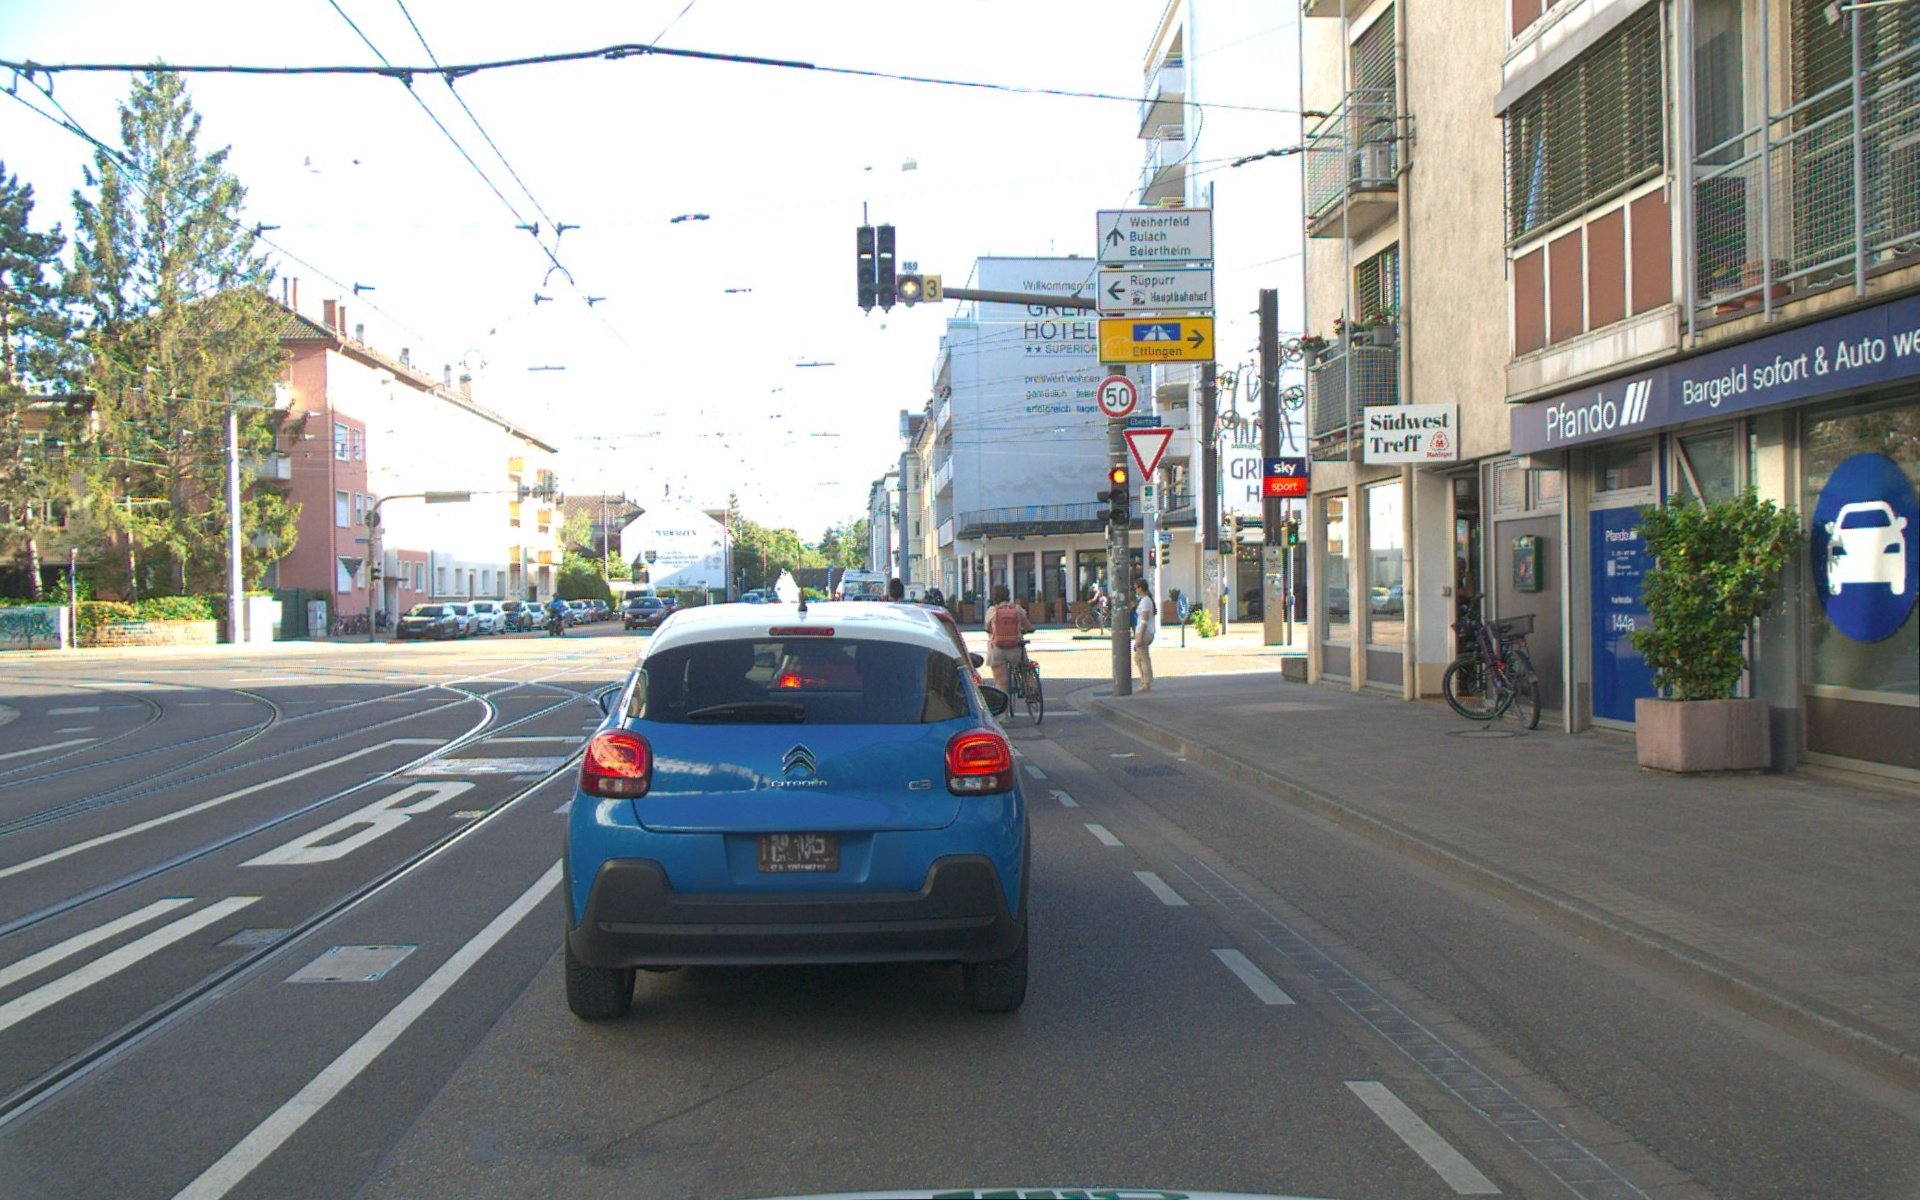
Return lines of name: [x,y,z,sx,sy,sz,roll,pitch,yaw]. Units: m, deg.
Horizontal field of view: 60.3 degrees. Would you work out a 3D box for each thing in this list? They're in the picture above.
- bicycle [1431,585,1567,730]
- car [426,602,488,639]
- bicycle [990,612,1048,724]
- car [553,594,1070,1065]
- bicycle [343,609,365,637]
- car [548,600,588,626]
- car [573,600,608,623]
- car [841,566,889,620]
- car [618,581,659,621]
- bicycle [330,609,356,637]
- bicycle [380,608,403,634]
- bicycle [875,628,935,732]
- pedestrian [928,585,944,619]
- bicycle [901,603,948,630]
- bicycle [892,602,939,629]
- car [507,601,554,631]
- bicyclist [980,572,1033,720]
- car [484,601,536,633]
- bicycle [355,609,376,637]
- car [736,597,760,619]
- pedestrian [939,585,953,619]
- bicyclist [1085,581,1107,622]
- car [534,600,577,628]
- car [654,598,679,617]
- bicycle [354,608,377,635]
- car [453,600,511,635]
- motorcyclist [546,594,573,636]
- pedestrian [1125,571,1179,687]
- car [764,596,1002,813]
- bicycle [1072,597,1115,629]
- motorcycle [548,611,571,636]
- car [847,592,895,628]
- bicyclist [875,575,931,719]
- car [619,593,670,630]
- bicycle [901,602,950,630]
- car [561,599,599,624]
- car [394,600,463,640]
bicycle: [5.114,0.508,15.807,0.627,1.286,1.910,-1,0,-1]
car: [-22.548,0.877,74.246,1.913,1.545,4.040,-1,0,-6]
bicycle: [0.723,0.817,20.625,0.601,1.286,1.910,-1,0,-1]
car: [-0.611,0.734,7.339,1.647,1.488,3.997,1,0,-4]
bicycle: [-24.584,0.929,67.107,0.527,1.101,1.905,-1,0,-11]
car: [-24.401,0.808,102.980,1.913,1.545,3.995,-1,0,-6]
car: [-25.559,0.788,114.584,1.913,1.545,3.995,-1,0,-6]
car: [-4.226,-0.317,73.167,2.039,2.309,5.646,0,0,-4]
car: [-23.215,0.067,119.567,2.446,2.759,5.828,-1,0,-7]
bicycle: [-24.977,0.919,66.981,0.628,1.101,1.905,-1,0,-11]
bicycle: [-25.667,0.942,74.682,0.597,1.101,1.908,-1,0,-7]
bicycle: [-0.670,0.923,19.709,0.604,1.123,1.884,-1,0,-5]
pedestrian: [-1.005,0.090,70.226,0.514,1.445,0.547,-1,0,19]
bicycle: [-1.441,0.666,67.073,1.868,1.083,0.641,-1,0,-8]
bicycle: [-1.856,0.643,68.259,1.868,1.083,0.641,-1,0,-8]
car: [-23.757,0.856,91.558,1.913,1.545,3.995,-1,0,-6]
bicyclist: [0.569,0.555,20.584,0.588,1.776,1.084,-1,0,-1]
car: [-23.228,0.840,85.508,1.913,1.545,3.995,-1,0,-6]
bicycle: [-24.225,0.937,67.406,0.527,1.101,1.905,-1,0,-11]
car: [-21.800,0.806,170.483,2.293,2.074,5.044,-1,0,-6]
pedestrian: [-0.580,0.085,69.981,0.459,1.445,0.525,-1,0,-13]
bicyclist: [4.974,0.060,60.436,0.711,1.459,0.606,-1,0,13]
car: [-23.927,0.823,97.983,1.913,1.545,3.995,-1,0,-6]
car: [-25.565,0.643,144.156,1.913,1.545,3.995,-1,0,-6]
bicycle: [-25.869,0.928,71.977,0.527,1.101,1.908,-1,0,-7]
car: [-22.750,0.821,78.851,1.913,1.545,3.995,-1,0,-6]
motorcyclist: [-16.200,0.608,66.942,0.973,1.659,0.737,-1,0,-10]
pedestrian: [2.821,0.416,24.330,0.735,1.663,0.740,-1,0,5]
car: [-0.678,0.730,13.547,1.647,1.488,3.997,1,0,-4]
bicycle: [4.881,0.470,60.466,1.457,1.110,0.606,-1,0,12]
motorcycle: [-16.221,0.941,67.010,0.738,0.993,2.092,-1,0,-9]
car: [-3.671,0.385,67.728,1.752,1.383,3.909,-1,0,-6]
bicyclist: [-0.686,0.540,19.604,0.604,1.658,0.759,-1,0,-5]
car: [-14.585,0.500,76.693,1.967,1.656,5.045,-1,0,-7]
bicycle: [-1.389,0.641,65.768,1.868,1.083,0.641,-1,0,-8]
car: [-24.843,0.749,108.253,1.913,1.545,3.995,-1,0,-6]
car: [-22.010,0.792,68.641,1.913,1.545,3.995,-1,0,-6]
